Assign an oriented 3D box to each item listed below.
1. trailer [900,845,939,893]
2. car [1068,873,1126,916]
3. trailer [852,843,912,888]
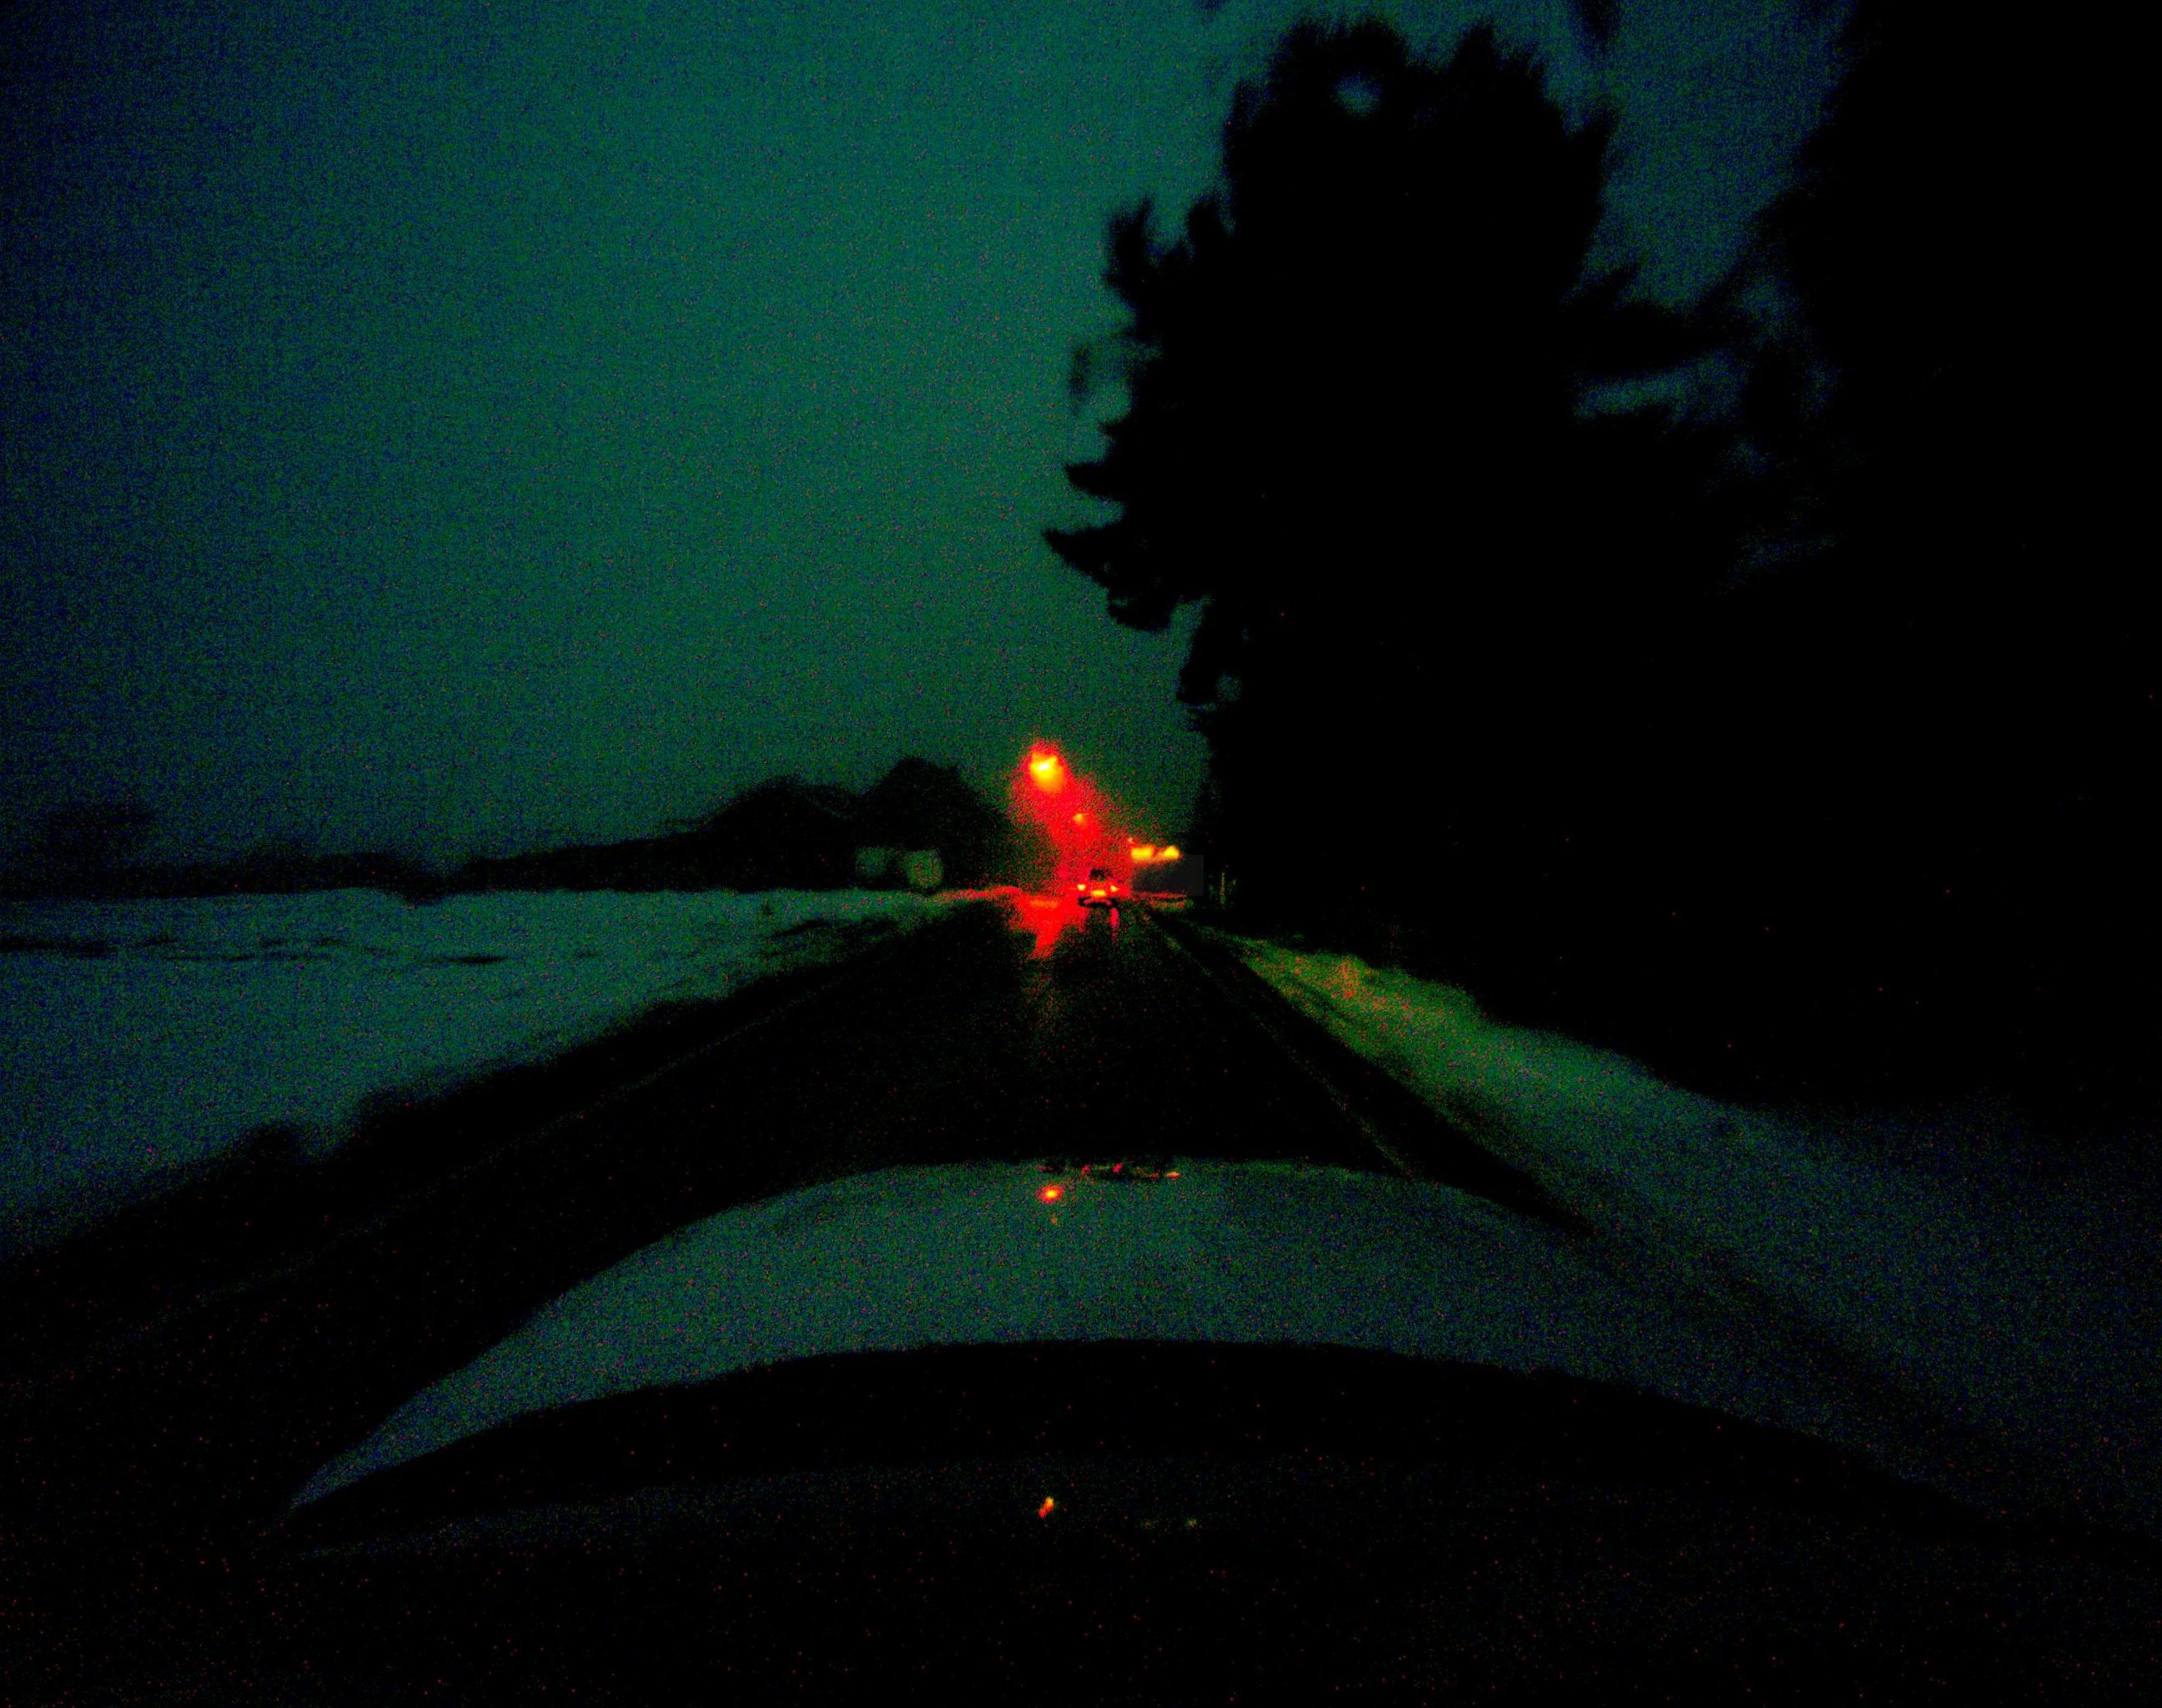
[{"bbox_3d":[-9.278,0.864,46.751,1.695,2.605,3.423,-2,-1,-19],"label":"trailer"},{"bbox_3d":[0.709,1.592,33.037,1.984,1.508,4.006,-2,-1,6],"label":"car"},{"bbox_3d":[-11.755,0.669,48.387,1.982,2.489,4.020,-2,-1,9],"label":"trailer"}]
